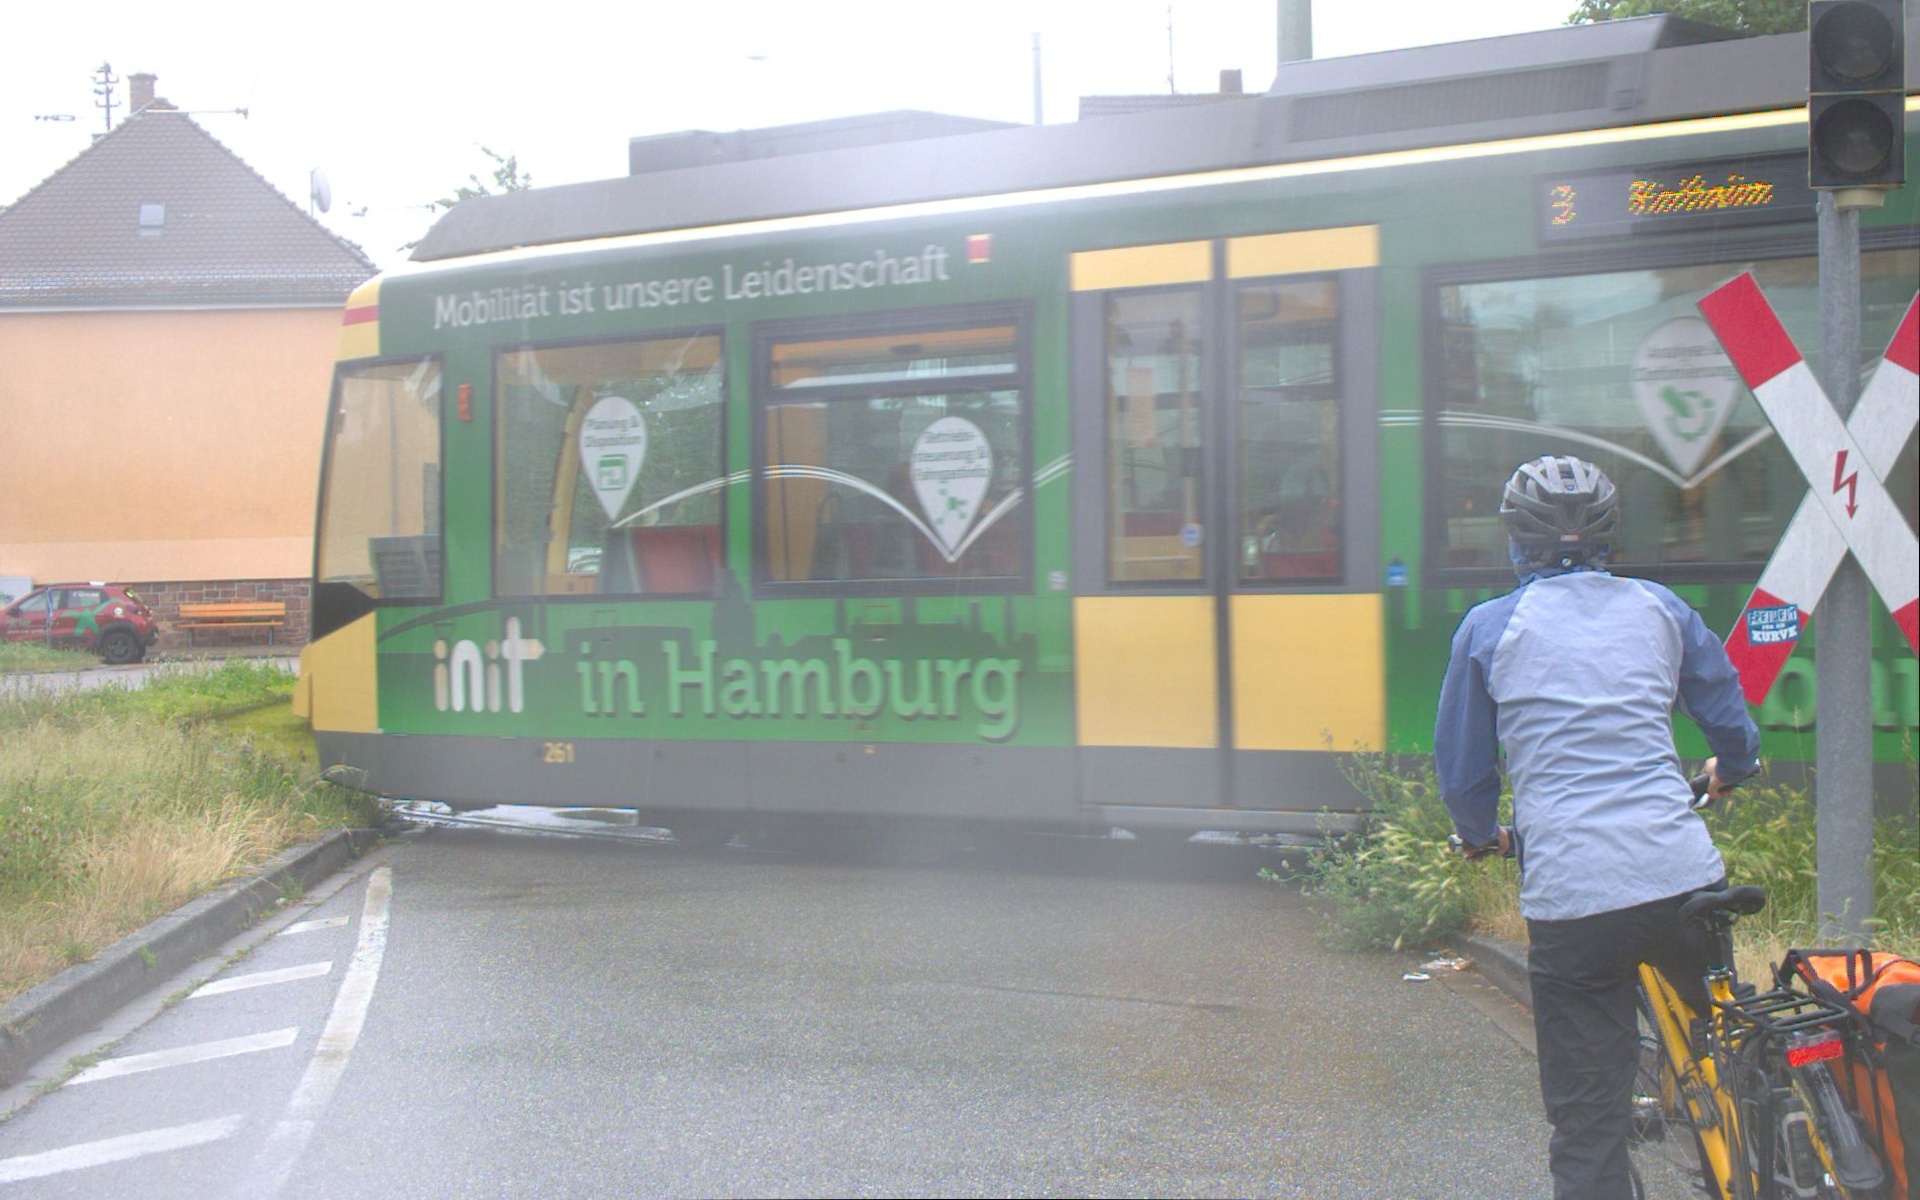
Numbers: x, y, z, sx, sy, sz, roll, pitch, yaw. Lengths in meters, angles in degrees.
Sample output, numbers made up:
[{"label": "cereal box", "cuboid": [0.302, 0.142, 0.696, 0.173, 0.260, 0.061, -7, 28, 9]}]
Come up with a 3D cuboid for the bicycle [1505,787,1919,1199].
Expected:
[{"label": "bicycle", "cuboid": [1.351, 0.901, 6.079, 0.446, 1.001, 1.728, -1, 1, -2]}]

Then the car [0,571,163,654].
[{"label": "car", "cuboid": [-16.657, 0.206, 62.607, 3.986, 1.451, 1.834, 1, 0, -6]}]

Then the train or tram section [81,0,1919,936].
[{"label": "train or tram section", "cuboid": [1.285, -0.592, 15.478, 13.118, 3.541, 2.763, -1, 1, 39]}]

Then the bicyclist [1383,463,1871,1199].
[{"label": "bicyclist", "cuboid": [1.164, 0.584, 6.161, 0.667, 1.620, 0.853, 1, 0, -2]}]
